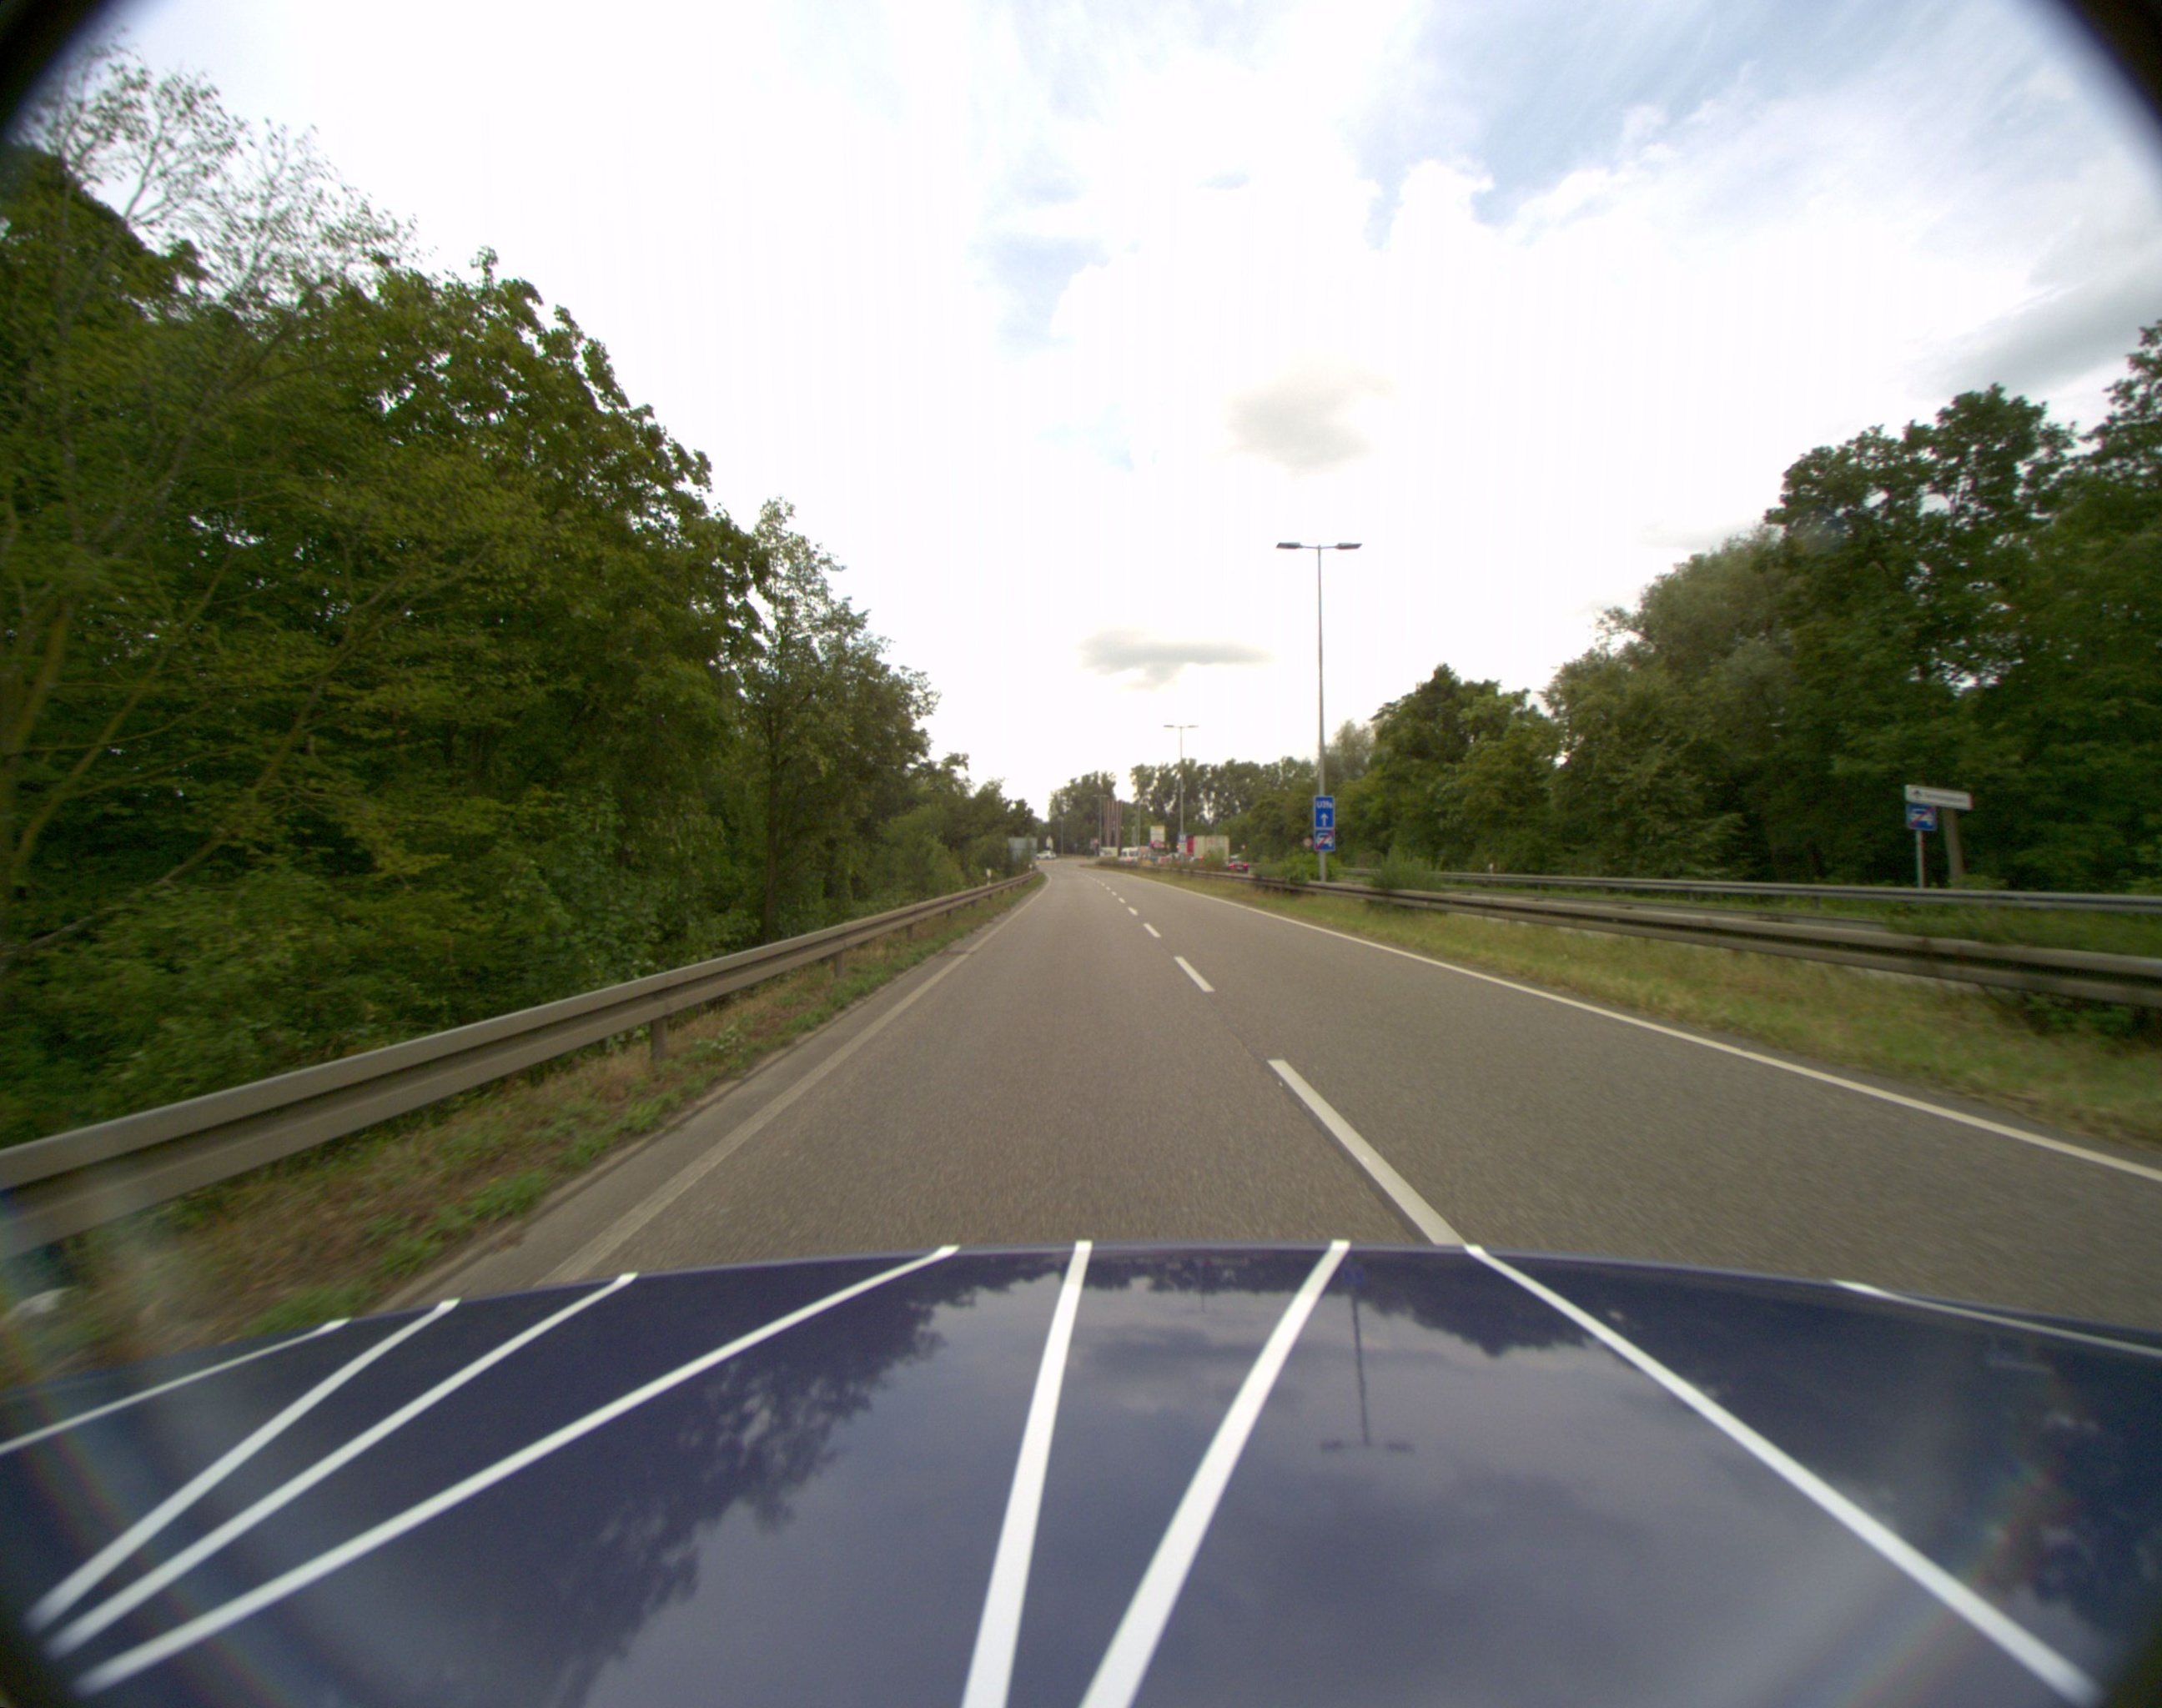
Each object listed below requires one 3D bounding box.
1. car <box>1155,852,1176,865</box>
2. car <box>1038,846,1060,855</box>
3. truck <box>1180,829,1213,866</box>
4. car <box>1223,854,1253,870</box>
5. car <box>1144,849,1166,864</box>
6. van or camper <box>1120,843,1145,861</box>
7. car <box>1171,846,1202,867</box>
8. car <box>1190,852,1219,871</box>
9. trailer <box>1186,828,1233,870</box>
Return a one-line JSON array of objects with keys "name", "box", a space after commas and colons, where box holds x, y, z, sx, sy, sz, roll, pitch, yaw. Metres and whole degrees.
[{"name": "car", "box": [10.037, 0.515, 90.604, 1.809, 1.424, 4.123, -1, 1, -4]}, {"name": "car", "box": [-6.472, -0.799, 153.922, 4.245, 1.773, 1.931, 0, 2, 37]}, {"name": "truck", "box": [13.206, -0.814, 87.160, 2.575, 4.060, 5.620, -1, 1, -3]}, {"name": "car", "box": [14.071, 0.722, 68.413, 1.824, 1.281, 3.998, -1, 1, -1]}, {"name": "car", "box": [9.400, 0.328, 96.675, 1.809, 1.719, 4.957, -1, 1, -5]}, {"name": "van or camper", "box": [7.526, -0.328, 112.615, 2.167, 2.574, 6.488, -1, 1, -10]}, {"name": "car", "box": [10.255, 0.227, 74.122, 2.015, 1.853, 5.275, -1, 1, -3]}, {"name": "car", "box": [10.731, 0.640, 66.233, 1.772, 1.498, 3.938, -1, 1, -1]}, {"name": "trailer", "box": [13.530, -0.577, 80.831, 2.542, 4.124, 10.766, -1, 1, -3]}]
